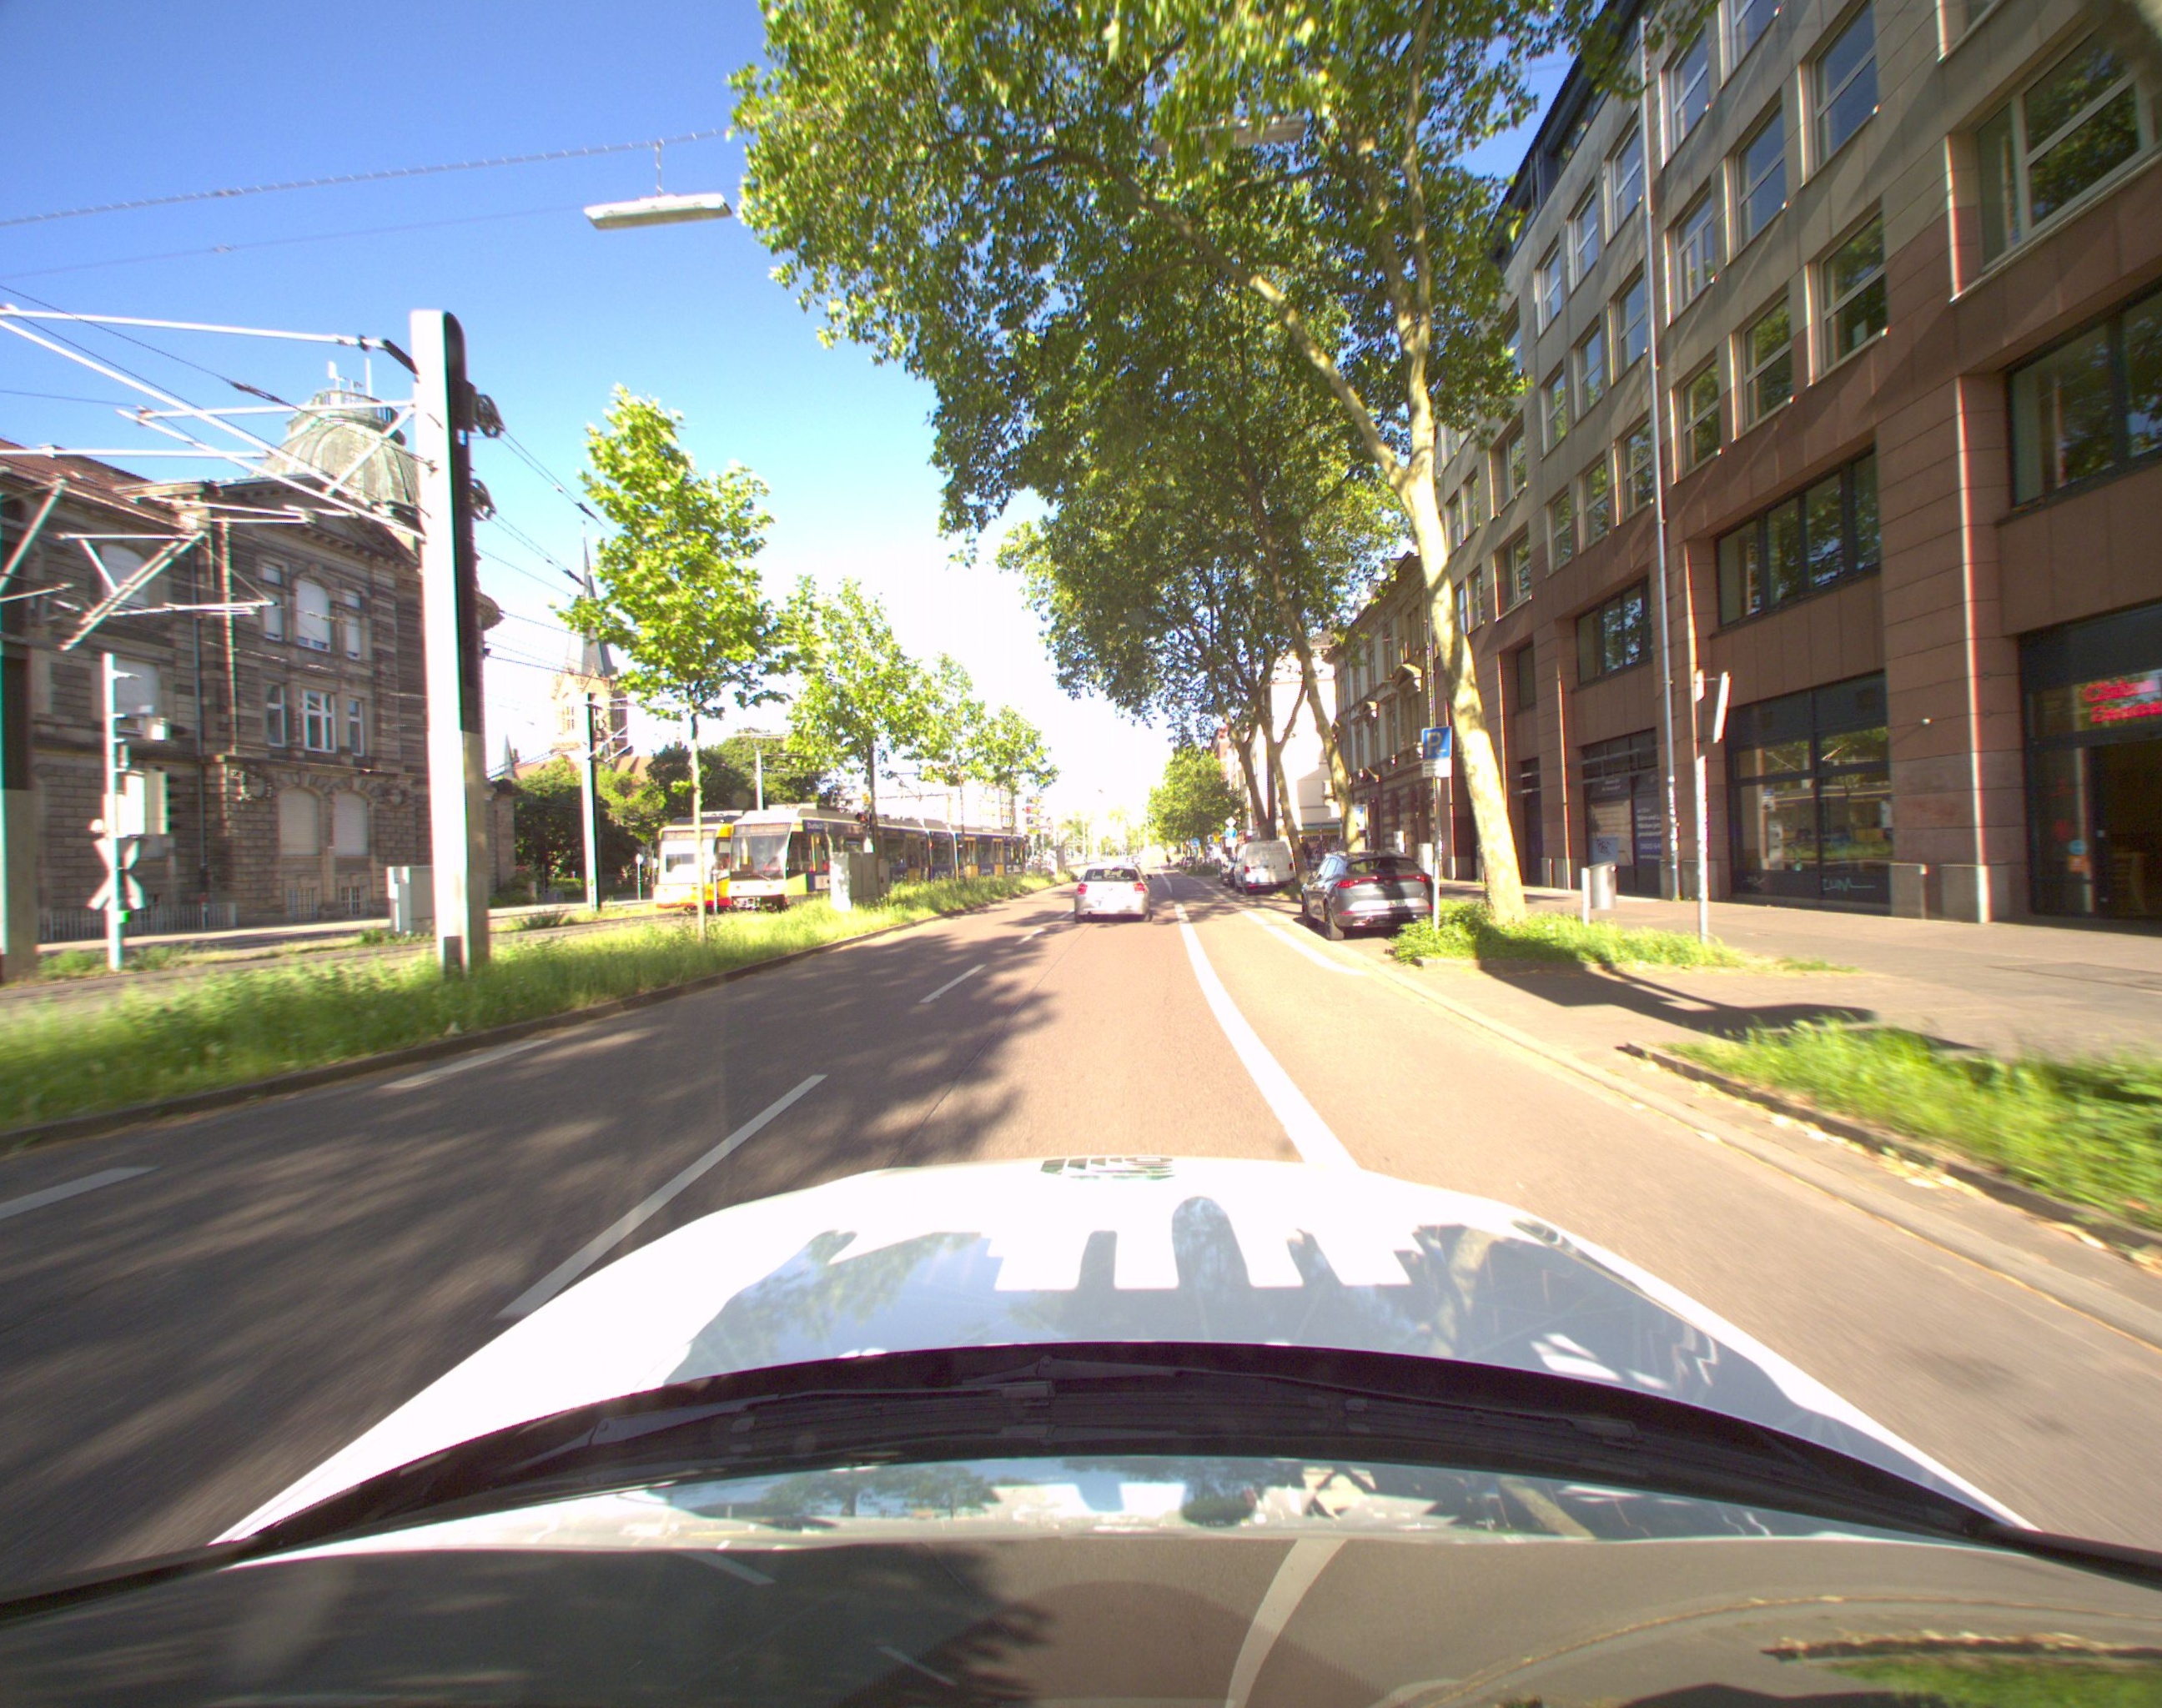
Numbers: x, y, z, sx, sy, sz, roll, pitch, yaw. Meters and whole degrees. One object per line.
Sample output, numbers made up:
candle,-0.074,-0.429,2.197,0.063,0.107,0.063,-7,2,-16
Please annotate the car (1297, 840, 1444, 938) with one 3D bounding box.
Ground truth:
car,5.225,0.580,15.249,1.659,1.570,4.287,0,0,6

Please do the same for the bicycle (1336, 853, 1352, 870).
bicycle,15.196,0.424,47.058,0.412,0.997,1.885,-2,0,5

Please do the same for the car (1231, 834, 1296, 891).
car,6.952,0.324,31.489,1.847,2.014,4.730,0,0,5

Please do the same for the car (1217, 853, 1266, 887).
car,7.653,0.746,39.205,1.810,1.515,4.714,0,0,5

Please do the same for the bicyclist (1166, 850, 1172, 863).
bicyclist,10.687,0.329,98.750,0.781,1.531,0.896,0,-1,5

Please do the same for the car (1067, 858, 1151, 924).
car,0.803,0.852,20.329,1.789,1.415,4.006,-2,0,6

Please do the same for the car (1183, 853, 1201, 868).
car,12.258,0.743,90.028,1.686,1.502,3.807,-5,0,5

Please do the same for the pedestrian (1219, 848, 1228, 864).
pedestrian,14.959,0.215,85.532,0.855,1.705,0.917,-2,-1,3

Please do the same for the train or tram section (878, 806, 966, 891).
train or tram section,-7.598,-0.250,39.464,2.936,3.897,3.877,-1,0,10

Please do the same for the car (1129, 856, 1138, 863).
car,9.963,1.014,154.448,1.636,1.421,4.006,-1,0,5

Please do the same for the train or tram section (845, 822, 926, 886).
train or tram section,-11.376,0.019,47.960,2.944,3.483,6.065,-1,0,3

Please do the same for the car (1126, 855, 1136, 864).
car,9.014,1.005,146.419,1.719,1.470,4.413,-2,0,3

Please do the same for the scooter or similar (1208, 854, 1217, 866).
scooter or similar,13.446,0.587,83.327,0.376,1.196,1.584,-3,0,25

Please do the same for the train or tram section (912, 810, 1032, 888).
train or tram section,-5.873,-0.228,46.581,2.931,3.897,10.844,-1,0,14

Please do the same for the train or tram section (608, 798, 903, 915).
train or tram section,-12.123,0.058,35.119,2.951,3.483,21.238,-1,0,4

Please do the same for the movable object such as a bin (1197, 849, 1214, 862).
movable object such as a bin,19.364,0.216,126.630,1.939,1.843,3.479,-2,1,-1

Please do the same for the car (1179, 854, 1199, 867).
car,12.932,0.761,97.718,2.029,1.509,4.600,-2,0,5

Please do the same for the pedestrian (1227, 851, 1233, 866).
pedestrian,16.826,0.497,91.764,0.555,1.711,0.771,-2,-1,5

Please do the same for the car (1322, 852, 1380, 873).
car,20.219,0.604,61.123,3.916,1.474,1.670,-1,0,8

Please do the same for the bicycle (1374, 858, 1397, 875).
bicycle,14.794,0.601,39.617,0.546,0.773,1.665,-4,-1,5

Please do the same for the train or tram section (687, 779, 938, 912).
train or tram section,-9.003,-0.213,30.518,2.912,3.812,14.304,-1,0,8

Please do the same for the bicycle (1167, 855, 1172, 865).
bicycle,10.698,0.718,98.632,0.497,1.088,2.000,0,0,5
